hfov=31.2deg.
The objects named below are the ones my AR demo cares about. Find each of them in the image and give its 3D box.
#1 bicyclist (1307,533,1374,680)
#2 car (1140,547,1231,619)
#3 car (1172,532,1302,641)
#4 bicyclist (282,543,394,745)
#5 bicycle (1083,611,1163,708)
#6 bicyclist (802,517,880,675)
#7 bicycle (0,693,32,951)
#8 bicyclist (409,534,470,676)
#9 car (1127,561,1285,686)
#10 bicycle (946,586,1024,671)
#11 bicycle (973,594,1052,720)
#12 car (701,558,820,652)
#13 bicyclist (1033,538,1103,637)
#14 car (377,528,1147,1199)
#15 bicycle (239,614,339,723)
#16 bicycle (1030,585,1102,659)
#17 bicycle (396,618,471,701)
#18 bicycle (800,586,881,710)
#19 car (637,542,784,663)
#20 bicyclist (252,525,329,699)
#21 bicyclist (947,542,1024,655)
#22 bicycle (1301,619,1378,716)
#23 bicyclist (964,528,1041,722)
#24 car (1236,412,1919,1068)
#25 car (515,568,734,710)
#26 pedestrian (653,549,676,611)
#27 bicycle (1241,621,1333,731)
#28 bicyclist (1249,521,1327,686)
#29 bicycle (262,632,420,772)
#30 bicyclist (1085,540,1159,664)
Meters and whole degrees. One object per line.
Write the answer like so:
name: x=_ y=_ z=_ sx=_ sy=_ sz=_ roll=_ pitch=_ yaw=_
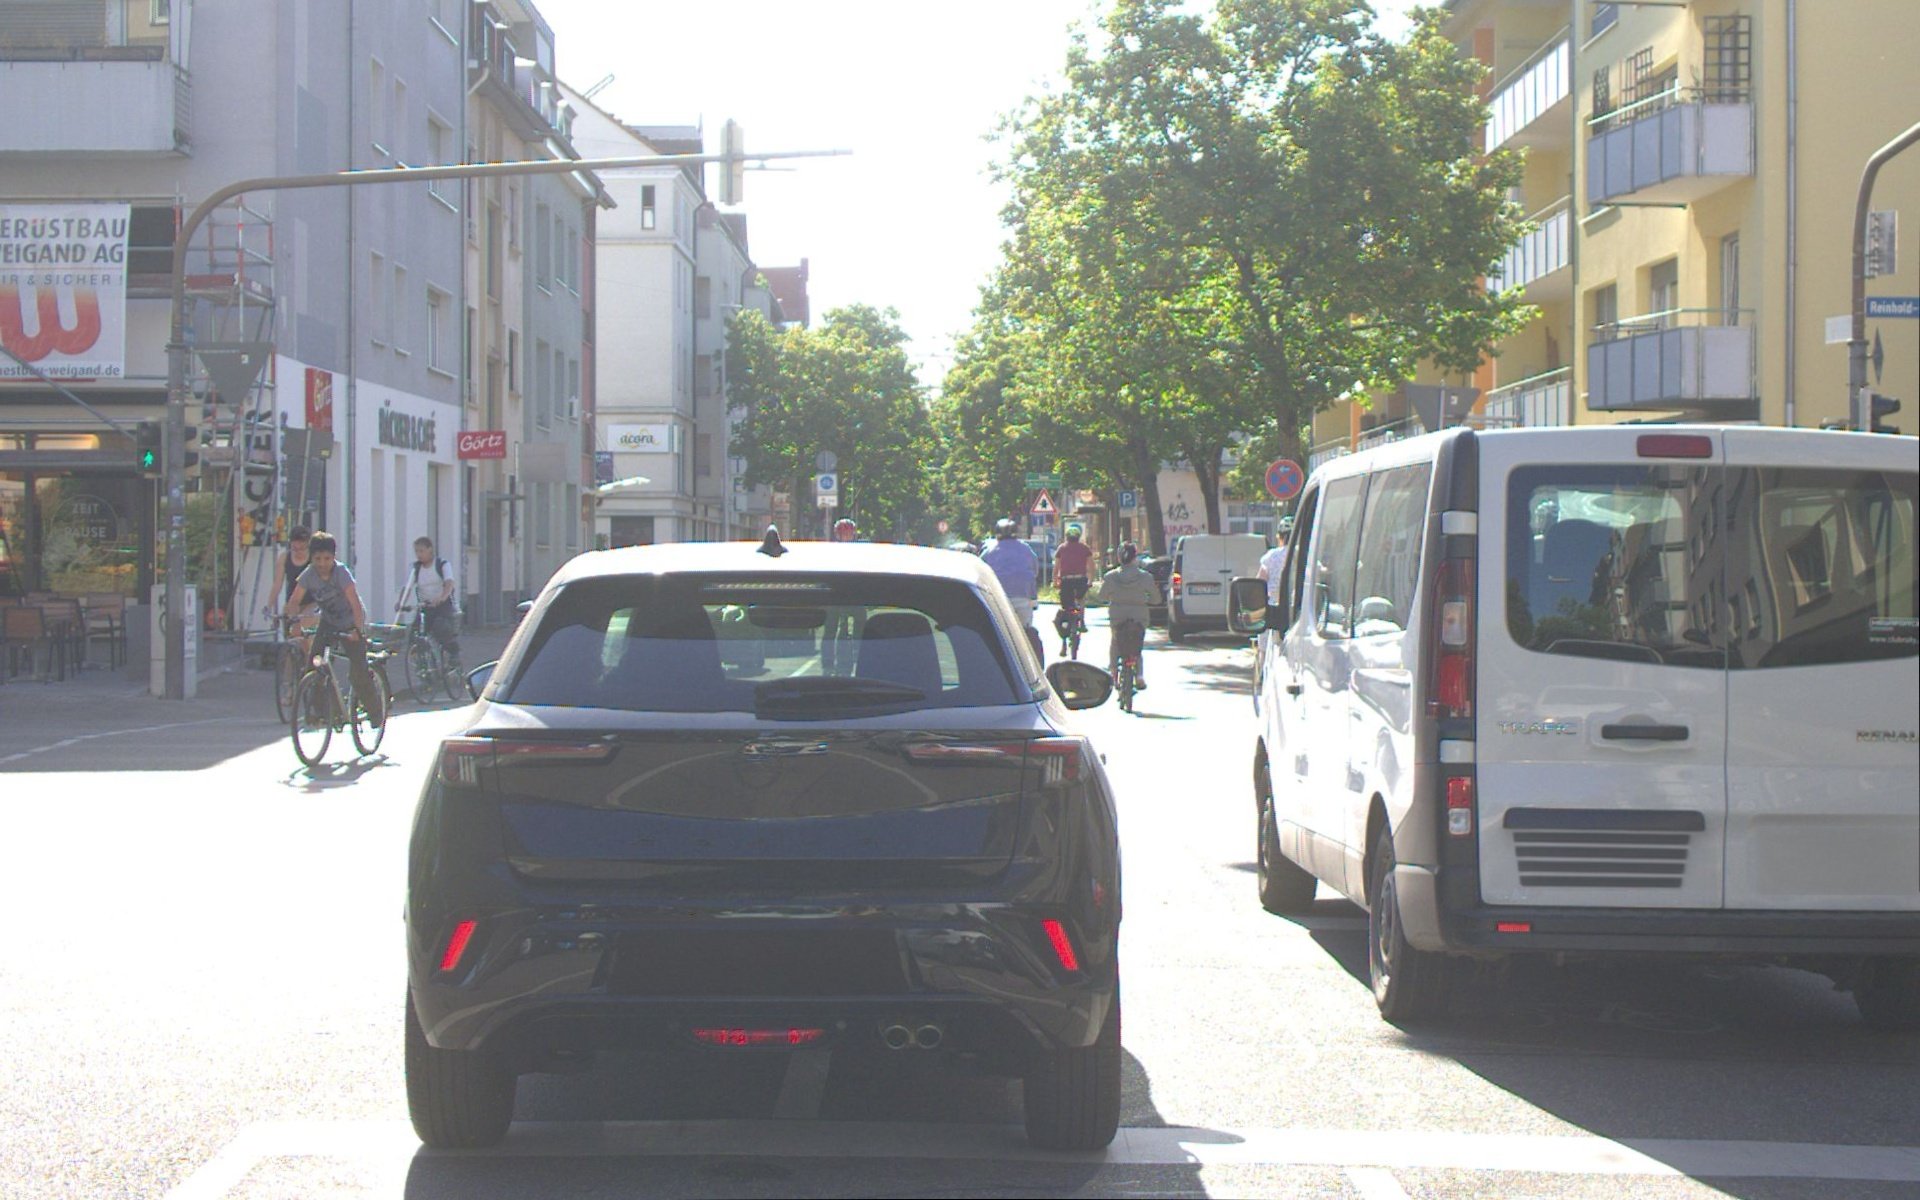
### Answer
bicyclist: x=3.613 y=0.053 z=32.715 sx=0.547 sy=1.378 sz=0.823 roll=0 pitch=1 yaw=1
car: x=4.799 y=-0.384 z=73.502 sx=1.712 sy=1.478 sz=3.381 roll=0 pitch=1 yaw=0
car: x=4.841 y=-0.269 z=60.703 sx=2.046 sy=1.840 sz=4.584 roll=0 pitch=1 yaw=2
bicyclist: x=-4.343 y=0.297 z=24.035 sx=0.543 sy=1.386 sz=0.788 roll=0 pitch=1 yaw=8
bicycle: x=1.560 y=0.560 z=33.123 sx=0.691 sy=0.863 sz=1.876 roll=0 pitch=1 yaw=1
bicyclist: x=-1.249 y=-0.053 z=36.270 sx=0.801 sy=1.644 sz=1.125 roll=0 pitch=1 yaw=-1
bicycle: x=-3.950 y=0.862 z=12.397 sx=0.679 sy=0.949 sz=1.934 roll=-1 pitch=1 yaw=-1
bicyclist: x=-5.730 y=0.047 z=37.854 sx=0.553 sy=1.543 sz=0.814 roll=1 pitch=1 yaw=-2
car: x=3.046 y=0.265 z=43.068 sx=1.712 sy=1.478 sz=3.480 roll=0 pitch=1 yaw=0
bicycle: x=0.286 y=0.334 z=41.642 sx=0.856 sy=0.942 sz=2.307 roll=2 pitch=1 yaw=-1
bicycle: x=0.449 y=0.485 z=30.083 sx=0.632 sy=1.038 sz=1.795 roll=0 pitch=1 yaw=-1
car: x=-3.224 y=0.050 z=55.624 sx=1.804 sy=1.408 sz=4.426 roll=-1 pitch=1 yaw=-3
bicyclist: x=1.482 y=-0.178 z=47.509 sx=0.856 sy=1.310 sz=1.210 roll=2 pitch=1 yaw=-1
car: x=-0.483 y=0.594 z=9.892 sx=1.762 sy=1.553 sz=4.000 roll=0 pitch=1 yaw=-1
bicycle: x=-5.921 y=0.591 z=30.394 sx=0.542 sy=0.899 sz=1.826 roll=0 pitch=1 yaw=-1
bicycle: x=1.455 y=0.293 z=47.523 sx=0.856 sy=0.942 sz=2.307 roll=2 pitch=1 yaw=-1
bicycle: x=-5.740 y=0.638 z=37.550 sx=0.553 sy=0.831 sz=2.132 roll=1 pitch=1 yaw=-2
bicycle: x=-1.252 y=0.488 z=36.367 sx=0.801 sy=1.251 sz=2.139 roll=0 pitch=1 yaw=-1
car: x=-3.357 y=0.019 z=46.870 sx=1.592 sy=1.560 sz=4.089 roll=-1 pitch=0 yaw=2
bicyclist: x=-5.905 y=0.098 z=30.340 sx=0.542 sy=1.515 sz=0.774 roll=0 pitch=1 yaw=-1
bicyclist: x=0.303 y=-0.031 z=41.649 sx=0.856 sy=1.310 sz=1.210 roll=2 pitch=1 yaw=-1
bicycle: x=3.615 y=0.631 z=32.837 sx=0.547 sy=0.863 sz=1.876 roll=0 pitch=1 yaw=1
bicyclist: x=0.365 y=0.204 z=30.031 sx=0.632 sy=1.663 sz=1.050 roll=0 pitch=1 yaw=-1
car: x=2.280 y=0.403 z=12.885 sx=1.968 sy=1.933 sz=5.056 roll=2 pitch=1 yaw=-1
car: x=-3.572 y=0.377 z=37.300 sx=1.837 sy=1.429 sz=4.176 roll=0 pitch=1 yaw=2
pedestrian: x=-7.522 y=-0.505 z=87.588 sx=0.577 sy=1.577 sz=0.708 roll=0 pitch=1 yaw=-6
bicycle: x=2.782 y=0.637 z=29.350 sx=0.620 sy=0.863 sz=1.876 roll=0 pitch=1 yaw=1
bicyclist: x=2.783 y=0.024 z=29.212 sx=0.588 sy=1.378 sz=0.823 roll=0 pitch=1 yaw=1
bicycle: x=-4.329 y=0.698 z=24.159 sx=0.543 sy=0.899 sz=1.825 roll=0 pitch=1 yaw=8
bicyclist: x=1.561 y=0.016 z=33.193 sx=0.692 sy=1.189 sz=0.595 roll=0 pitch=1 yaw=1
